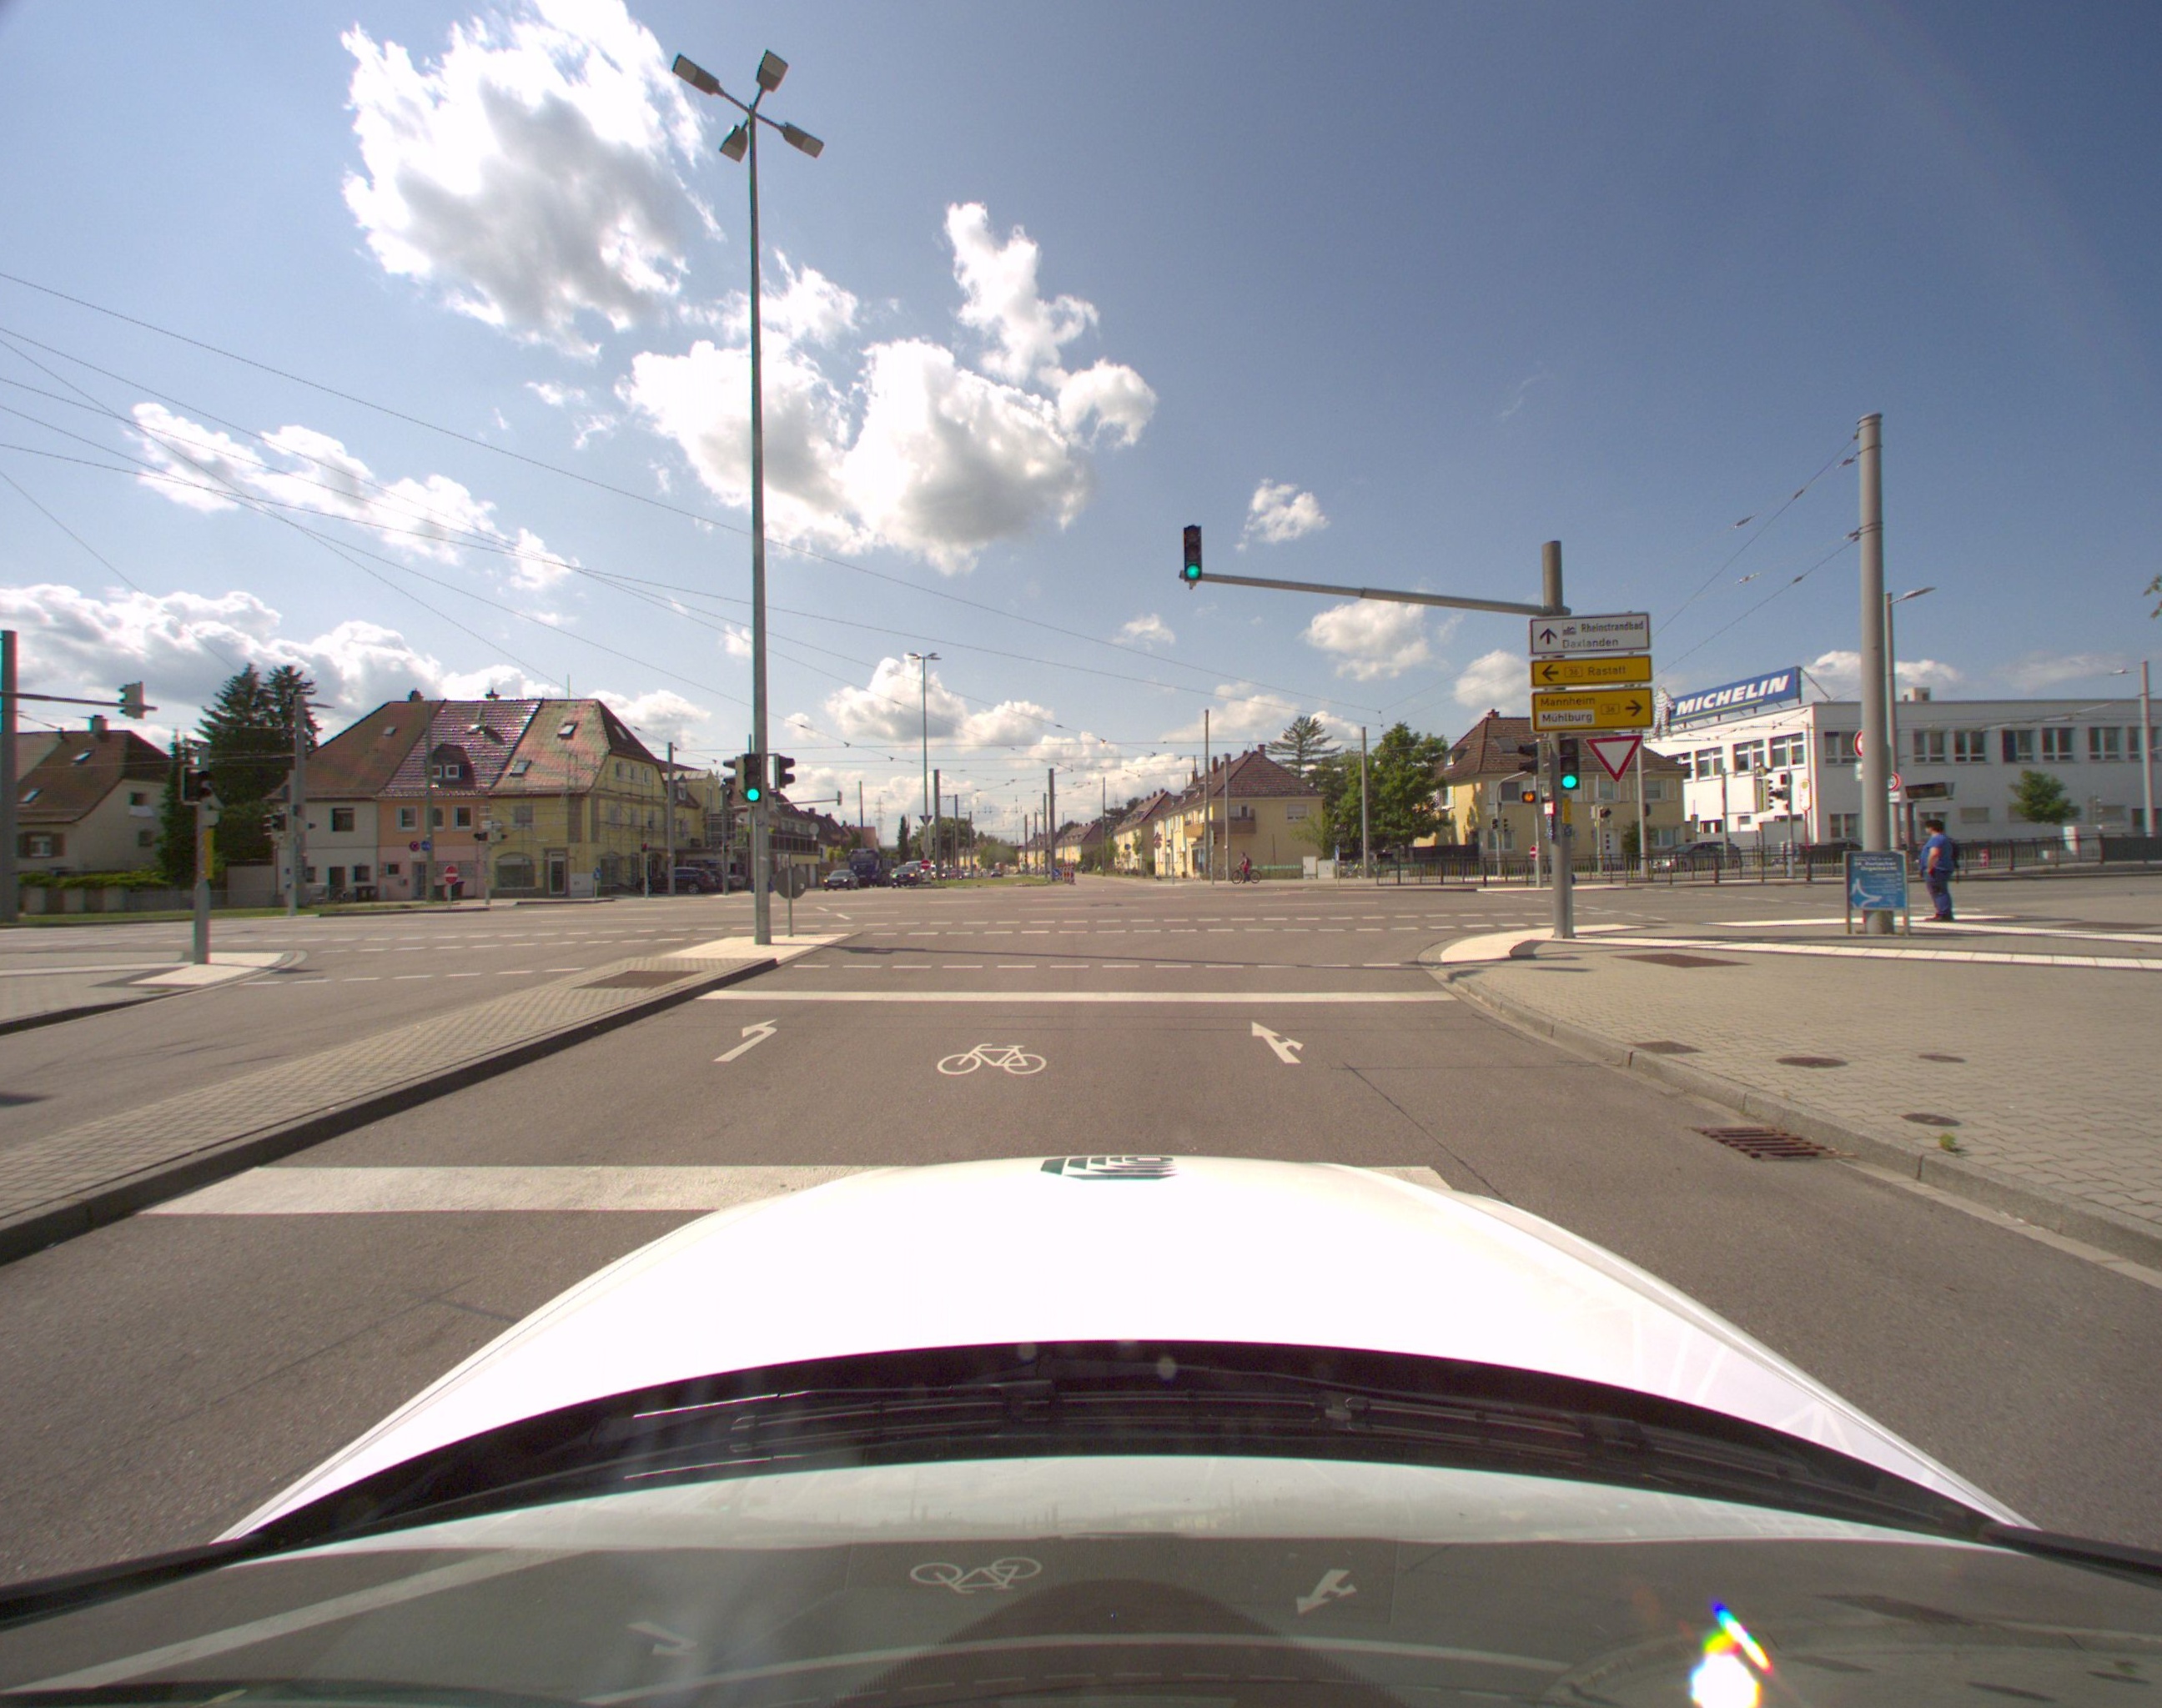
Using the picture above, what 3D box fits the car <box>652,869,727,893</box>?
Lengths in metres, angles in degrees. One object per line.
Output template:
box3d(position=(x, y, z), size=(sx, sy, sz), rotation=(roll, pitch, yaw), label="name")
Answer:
box3d(position=(-25.449, 1.744, 53.053), size=(4.129, 1.493, 1.504), rotation=(0, -1, -7), label="car")

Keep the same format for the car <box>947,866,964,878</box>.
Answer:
box3d(position=(-16.080, 2.331, 104.514), size=(1.840, 1.494, 4.847), rotation=(-2, -1, -5), label="car")

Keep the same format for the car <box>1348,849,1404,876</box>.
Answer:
box3d(position=(19.764, 0.591, 54.709), size=(1.821, 1.621, 3.989), rotation=(-1, -2, -8), label="car")

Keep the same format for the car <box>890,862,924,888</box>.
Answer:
box3d(position=(-12.779, 1.511, 60.015), size=(1.783, 1.720, 4.434), rotation=(-1, 0, -5), label="car")

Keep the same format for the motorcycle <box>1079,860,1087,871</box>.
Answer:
box3d(position=(0.249, 1.858, 132.241), size=(1.065, 1.635, 2.079), rotation=(-1, -1, -6), label="motorcycle")

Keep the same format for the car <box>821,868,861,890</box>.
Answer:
box3d(position=(-17.237, 1.799, 58.638), size=(1.824, 1.487, 4.328), rotation=(-1, -1, -3), label="car")

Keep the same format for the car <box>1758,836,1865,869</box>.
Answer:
box3d(position=(34.916, -0.067, 38.964), size=(3.698, 1.446, 1.576), rotation=(-2, -1, -1), label="car")

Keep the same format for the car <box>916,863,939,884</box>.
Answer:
box3d(position=(-13.977, 1.745, 74.338), size=(1.731, 1.782, 4.395), rotation=(-2, -1, -6), label="car")

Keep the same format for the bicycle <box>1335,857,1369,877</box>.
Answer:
box3d(position=(16.076, 0.772, 48.311), size=(1.785, 1.105, 0.707), rotation=(-2, -1, 41), label="bicycle")

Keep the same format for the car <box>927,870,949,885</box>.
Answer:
box3d(position=(-14.252, 2.348, 81.287), size=(1.912, 1.419, 3.991), rotation=(-2, -1, -6), label="car")

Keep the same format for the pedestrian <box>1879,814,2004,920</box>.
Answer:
box3d(position=(14.851, 0.222, 14.095), size=(1.027, 1.735, 1.040), rotation=(-1, 0, -2), label="pedestrian")

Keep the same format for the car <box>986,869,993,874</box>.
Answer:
box3d(position=(-25.783, 4.970, 230.387), size=(1.262, 1.426, 2.646), rotation=(-1, -1, -22), label="car")

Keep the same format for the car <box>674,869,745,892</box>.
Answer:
box3d(position=(-25.394, 1.801, 55.765), size=(4.129, 1.493, 1.431), rotation=(0, -1, -7), label="car")

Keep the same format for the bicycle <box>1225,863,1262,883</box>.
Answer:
box3d(position=(9.458, 1.120, 47.352), size=(2.033, 1.102, 0.710), rotation=(-1, -1, -20), label="bicycle")

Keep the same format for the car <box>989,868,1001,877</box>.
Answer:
box3d(position=(-15.638, 3.354, 148.869), size=(1.814, 1.552, 3.997), rotation=(-2, 0, -2), label="car")

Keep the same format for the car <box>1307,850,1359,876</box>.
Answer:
box3d(position=(16.974, 0.660, 55.140), size=(1.821, 1.621, 3.989), rotation=(-1, -2, -8), label="car")

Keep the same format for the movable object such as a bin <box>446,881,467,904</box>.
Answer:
box3d(position=(-35.350, 2.156, 46.104), size=(0.680, 1.260, 0.681), rotation=(0, -1, -2), label="movable object such as a bin")

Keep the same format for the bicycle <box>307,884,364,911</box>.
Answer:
box3d(position=(-40.805, 2.366, 44.638), size=(0.770, 1.356, 2.460), rotation=(0, -1, 3), label="bicycle")

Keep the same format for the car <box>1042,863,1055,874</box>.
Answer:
box3d(position=(-6.383, 2.791, 157.629), size=(2.064, 2.149, 4.865), rotation=(-1, -1, -8), label="car")

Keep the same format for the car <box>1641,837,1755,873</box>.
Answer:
box3d(position=(28.960, 0.062, 38.313), size=(3.974, 1.568, 1.842), rotation=(-2, -1, -1), label="car")

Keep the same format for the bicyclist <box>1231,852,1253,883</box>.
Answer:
box3d(position=(9.358, 0.793, 47.318), size=(0.960, 1.775, 0.715), rotation=(-1, -1, -20), label="bicyclist")

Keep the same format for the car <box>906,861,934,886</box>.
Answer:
box3d(position=(-13.104, 1.549, 66.443), size=(1.812, 1.922, 4.737), rotation=(-1, -1, -6), label="car")

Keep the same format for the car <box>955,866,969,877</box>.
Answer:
box3d(position=(-18.546, 2.754, 126.824), size=(1.840, 1.562, 4.180), rotation=(-2, -1, -5), label="car")

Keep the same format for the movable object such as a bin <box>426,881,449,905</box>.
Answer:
box3d(position=(-35.376, 2.146, 44.769), size=(0.680, 1.260, 0.681), rotation=(0, -1, -2), label="movable object such as a bin")

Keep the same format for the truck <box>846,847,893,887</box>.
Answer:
box3d(position=(-18.161, 1.107, 70.279), size=(2.765, 3.188, 7.565), rotation=(-1, -1, -6), label="truck")

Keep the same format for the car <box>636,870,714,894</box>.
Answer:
box3d(position=(-25.087, 1.722, 50.367), size=(4.129, 1.493, 1.176), rotation=(0, -1, -7), label="car")

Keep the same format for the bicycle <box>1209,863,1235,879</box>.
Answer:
box3d(position=(9.551, 1.162, 55.133), size=(0.596, 1.096, 2.259), rotation=(-1, -1, -23), label="bicycle")

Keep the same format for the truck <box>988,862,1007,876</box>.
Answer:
box3d(position=(-22.401, 4.029, 218.300), size=(2.651, 3.494, 9.368), rotation=(-1, -1, -21), label="truck")
